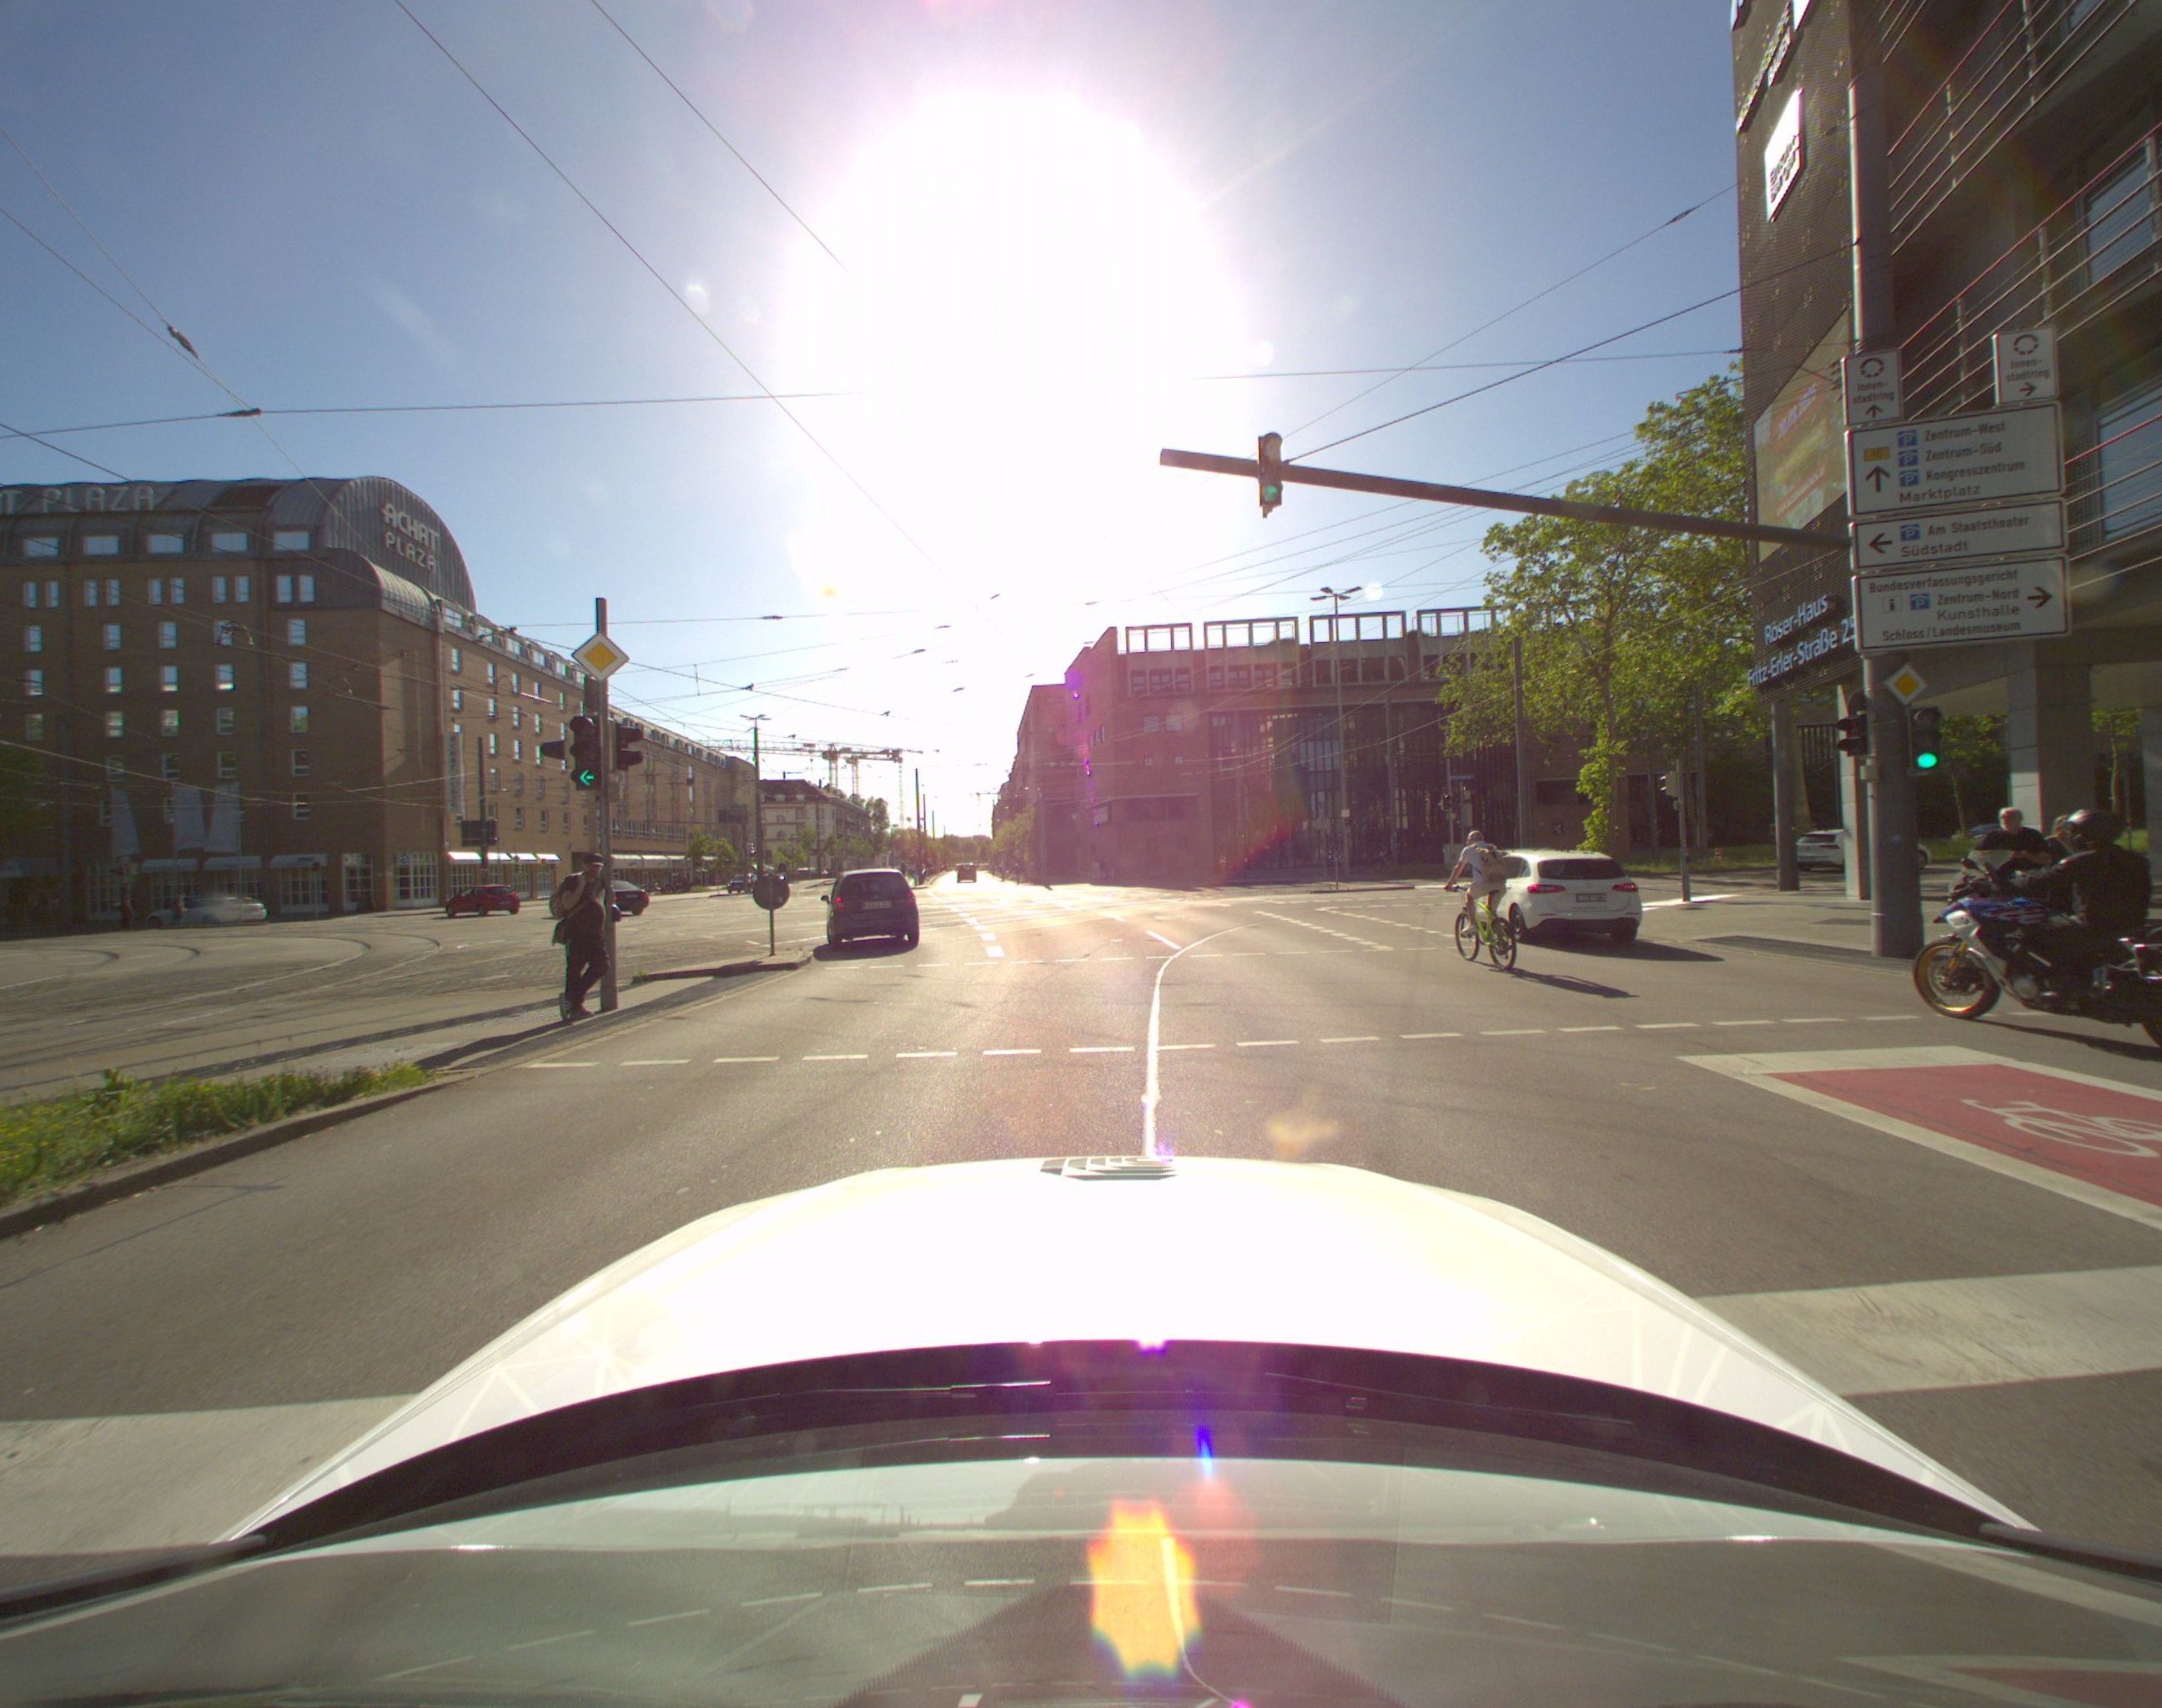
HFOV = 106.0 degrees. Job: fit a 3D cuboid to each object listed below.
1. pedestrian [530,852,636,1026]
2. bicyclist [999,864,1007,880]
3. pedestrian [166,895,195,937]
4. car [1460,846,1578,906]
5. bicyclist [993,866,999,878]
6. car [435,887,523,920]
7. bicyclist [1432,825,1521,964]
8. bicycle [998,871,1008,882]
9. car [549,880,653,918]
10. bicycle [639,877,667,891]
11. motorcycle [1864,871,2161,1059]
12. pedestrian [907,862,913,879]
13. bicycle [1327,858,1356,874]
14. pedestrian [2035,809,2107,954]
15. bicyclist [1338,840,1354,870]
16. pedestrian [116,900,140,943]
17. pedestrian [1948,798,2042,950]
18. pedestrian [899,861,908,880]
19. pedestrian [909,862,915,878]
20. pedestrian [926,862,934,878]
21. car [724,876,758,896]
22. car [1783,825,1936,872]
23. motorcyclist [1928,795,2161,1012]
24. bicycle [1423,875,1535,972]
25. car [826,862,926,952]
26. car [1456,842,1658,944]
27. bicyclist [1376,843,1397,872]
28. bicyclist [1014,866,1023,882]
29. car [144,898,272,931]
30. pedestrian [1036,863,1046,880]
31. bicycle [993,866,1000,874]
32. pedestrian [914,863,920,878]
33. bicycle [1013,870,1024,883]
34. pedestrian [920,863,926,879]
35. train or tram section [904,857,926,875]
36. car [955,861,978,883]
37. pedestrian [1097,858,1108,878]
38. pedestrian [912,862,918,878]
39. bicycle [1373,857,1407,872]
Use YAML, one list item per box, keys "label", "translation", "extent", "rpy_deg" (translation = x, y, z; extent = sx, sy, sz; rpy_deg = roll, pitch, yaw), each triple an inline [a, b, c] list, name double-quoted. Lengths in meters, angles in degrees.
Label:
- label: "pedestrian"
  translation: [-5.334, 0.870, 8.767]
  extent: [0.669, 1.753, 0.767]
  rpy_deg: [-2, -1, -9]
- label: "bicyclist"
  translation: [-7.690, 1.785, 80.075]
  extent: [0.667, 1.527, 0.704]
  rpy_deg: [-2, -1, -11]
- label: "pedestrian"
  translation: [-42.652, 2.918, 38.568]
  extent: [0.522, 1.932, 0.749]
  rpy_deg: [-2, -1, -9]
- label: "car"
  translation: [12.365, 0.549, 22.884]
  extent: [1.888, 1.541, 4.163]
  rpy_deg: [0, 0, 43]
- label: "bicyclist"
  translation: [-11.474, 2.402, 110.017]
  extent: [0.667, 1.527, 0.704]
  rpy_deg: [-2, -1, -11]
- label: "car"
  translation: [-28.941, 2.376, 39.141]
  extent: [3.543, 1.449, 1.667]
  rpy_deg: [-2, -1, 20]
- label: "bicyclist"
  translation: [5.292, 0.511, 10.948]
  extent: [0.647, 1.752, 1.045]
  rpy_deg: [-2, 0, 1]
- label: "bicycle"
  translation: [-7.691, 2.188, 80.111]
  extent: [0.667, 0.985, 2.576]
  rpy_deg: [-2, -1, -10]
- label: "car"
  translation: [-20.301, 1.919, 34.403]
  extent: [4.463, 1.449, 1.743]
  rpy_deg: [-3, -1, 29]
- label: "bicycle"
  translation: [-44.454, 3.150, 84.567]
  extent: [2.476, 1.310, 0.734]
  rpy_deg: [-2, -1, 1]
- label: "motorcycle"
  translation: [7.544, 0.746, 6.255]
  extent: [0.825, 1.201, 2.392]
  rpy_deg: [-1, -1, 3]
- label: "pedestrian"
  translation: [-17.923, 1.723, 85.175]
  extent: [0.510, 1.655, 0.759]
  rpy_deg: [-2, -1, -11]
- label: "bicycle"
  translation: [16.818, 0.774, 52.495]
  extent: [1.673, 0.994, 0.669]
  rpy_deg: [-2, -1, -18]
- label: "pedestrian"
  translation: [11.735, 0.311, 9.652]
  extent: [0.564, 1.645, 0.424]
  rpy_deg: [-4, 0, -33]
- label: "bicyclist"
  translation: [17.112, 0.055, 52.590]
  extent: [0.607, 1.884, 0.647]
  rpy_deg: [-2, -1, -18]
- label: "pedestrian"
  translation: [-43.970, 3.126, 37.575]
  extent: [0.518, 1.932, 0.531]
  rpy_deg: [-3, -1, 17]
- label: "pedestrian"
  translation: [11.349, 0.233, 10.115]
  extent: [0.610, 1.798, 0.633]
  rpy_deg: [-4, 0, -33]
- label: "pedestrian"
  translation: [-16.617, 1.520, 76.211]
  extent: [0.615, 1.669, 0.861]
  rpy_deg: [-5, 0, -11]
- label: "pedestrian"
  translation: [-18.489, 1.734, 89.285]
  extent: [0.539, 1.773, 0.631]
  rpy_deg: [-2, -1, -11]
- label: "pedestrian"
  translation: [-17.104, 1.791, 92.390]
  extent: [0.720, 1.735, 0.597]
  rpy_deg: [-2, -1, -28]
- label: "car"
  translation: [-28.944, 2.728, 69.364]
  extent: [1.609, 1.398, 3.908]
  rpy_deg: [-6, 1, -8]
- label: "car"
  translation: [27.215, -0.219, 28.527]
  extent: [3.987, 1.583, 1.906]
  rpy_deg: [0, 1, -10]
- label: "motorcyclist"
  translation: [7.530, 0.361, 6.354]
  extent: [0.825, 1.561, 0.943]
  rpy_deg: [-1, -1, 3]
- label: "bicycle"
  translation: [5.314, 0.884, 10.986]
  extent: [0.647, 1.110, 1.758]
  rpy_deg: [-2, 0, 1]
- label: "car"
  translation: [-4.305, 1.001, 16.760]
  extent: [1.731, 1.564, 3.655]
  rpy_deg: [-2, 0, -18]
- label: "car"
  translation: [8.372, 0.600, 14.786]
  extent: [1.894, 1.583, 4.151]
  rpy_deg: [0, 0, 11]
- label: "bicyclist"
  translation: [17.690, 0.184, 47.127]
  extent: [0.862, 1.630, 0.670]
  rpy_deg: [-2, -1, -8]
- label: "bicyclist"
  translation: [-5.207, 1.668, 68.150]
  extent: [0.593, 1.335, 0.930]
  rpy_deg: [-2, -1, -11]
- label: "car"
  translation: [-44.070, 3.044, 41.165]
  extent: [4.378, 1.381, 2.069]
  rpy_deg: [-2, -1, 4]
- label: "pedestrian"
  translation: [-4.243, 1.872, 87.218]
  extent: [0.880, 1.717, 0.928]
  rpy_deg: [-2, -1, -11]
- label: "bicycle"
  translation: [-11.448, 2.179, 109.902]
  extent: [0.667, 0.985, 2.576]
  rpy_deg: [-2, -1, -10]
- label: "pedestrian"
  translation: [-17.591, 1.777, 87.264]
  extent: [0.519, 1.551, 0.597]
  rpy_deg: [-2, -1, -15]
- label: "bicycle"
  translation: [-5.245, 1.883, 68.440]
  extent: [0.603, 0.985, 2.306]
  rpy_deg: [-2, -1, -10]
- label: "pedestrian"
  translation: [-16.617, 1.765, 85.620]
  extent: [0.539, 1.655, 0.704]
  rpy_deg: [-2, -1, -11]
- label: "train or tram section"
  translation: [-28.962, 2.106, 142.751]
  extent: [2.323, 3.003, 13.132]
  rpy_deg: [-2, 0, -6]
- label: "car"
  translation: [-11.096, 1.757, 78.735]
  extent: [1.994, 1.948, 3.985]
  rpy_deg: [-2, -1, -11]
- label: "pedestrian"
  translation: [1.774, 1.139, 66.296]
  extent: [0.618, 1.563, 0.983]
  rpy_deg: [-2, -1, -11]
- label: "pedestrian"
  translation: [-17.316, 1.657, 85.126]
  extent: [0.539, 1.655, 0.893]
  rpy_deg: [-2, -1, -11]
- label: "bicycle"
  translation: [17.883, 0.593, 47.157]
  extent: [1.667, 0.806, 0.671]
  rpy_deg: [-2, -1, -8]
